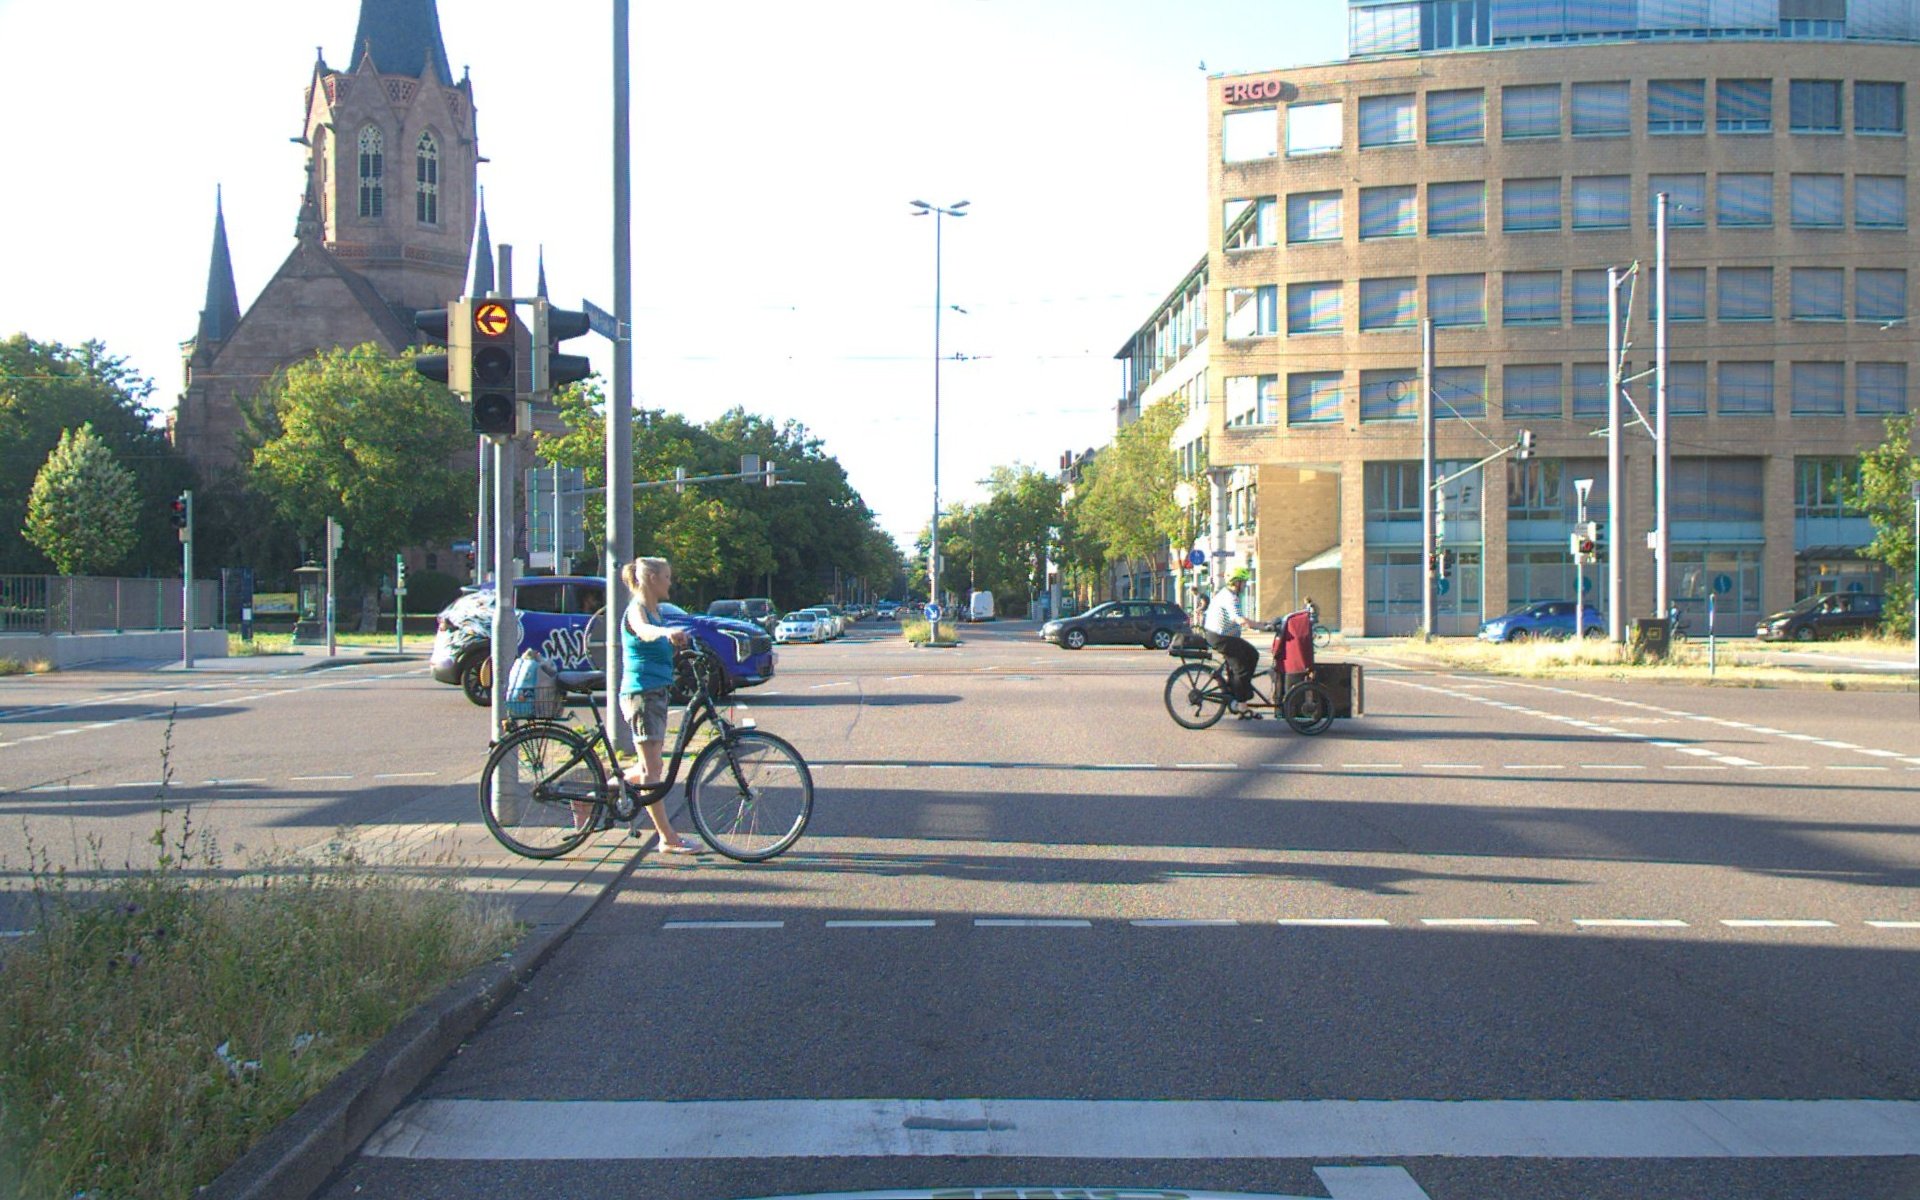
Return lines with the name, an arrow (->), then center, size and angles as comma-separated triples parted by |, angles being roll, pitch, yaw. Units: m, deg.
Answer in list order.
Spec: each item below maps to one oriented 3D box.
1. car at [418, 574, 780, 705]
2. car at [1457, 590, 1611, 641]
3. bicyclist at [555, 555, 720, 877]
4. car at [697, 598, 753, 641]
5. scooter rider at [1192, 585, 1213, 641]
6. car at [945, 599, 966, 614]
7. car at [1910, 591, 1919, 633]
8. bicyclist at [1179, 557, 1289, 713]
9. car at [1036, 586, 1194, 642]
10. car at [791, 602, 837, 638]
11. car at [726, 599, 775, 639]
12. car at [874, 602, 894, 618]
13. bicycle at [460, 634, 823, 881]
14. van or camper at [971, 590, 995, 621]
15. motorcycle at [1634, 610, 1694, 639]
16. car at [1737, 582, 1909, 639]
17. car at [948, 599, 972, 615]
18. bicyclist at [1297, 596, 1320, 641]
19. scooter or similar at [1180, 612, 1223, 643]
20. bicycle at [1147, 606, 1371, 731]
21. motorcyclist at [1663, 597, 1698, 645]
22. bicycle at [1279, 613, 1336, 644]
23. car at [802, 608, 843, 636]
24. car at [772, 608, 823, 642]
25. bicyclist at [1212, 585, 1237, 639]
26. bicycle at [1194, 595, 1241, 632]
car -> -4.621, 0.488, 21.646 | 4.313, 1.601, 1.836 | 0, 0, -1
car -> 18.103, 0.479, 52.244 | 4.146, 1.528, 1.998 | 0, 0, -5
bicyclist -> -1.767, 0.610, 9.191 | 0.767, 1.689, 0.900 | -1, 0, -3
car -> -9.465, 0.760, 66.786 | 1.744, 1.676, 3.999 | 0, 0, -1
scooter rider -> 8.102, 0.433, 55.202 | 0.666, 1.846, 0.475 | 0, 0, 5
car -> -0.485, 0.672, 177.162 | 1.955, 1.620, 3.996 | 0, 0, -5
car -> 32.729, 0.384, 53.049 | 3.535, 1.366, 1.721 | 0, 0, -2
bicyclist -> 2.746, 0.337, 16.688 | 0.862, 1.513, 1.161 | 0, 0, -3
car -> 4.717, 0.413, 50.731 | 4.555, 1.626, 1.998 | 0, 0, -5
car -> -6.394, 0.853, 72.916 | 1.744, 1.490, 3.999 | 0, 0, -1
car -> -9.370, 0.829, 74.190 | 1.744, 1.734, 3.999 | 0, 0, -1
car -> -7.006, 0.938, 153.686 | 1.744, 1.474, 3.999 | 0, 0, -1
bicycle -> -1.642, 0.802, 8.763 | 1.791, 1.209, 0.733 | 0, 0, -3
van or camper -> 2.026, 0.448, 146.334 | 1.953, 2.686, 5.350 | 0, 0, 0
motorcycle -> 23.564, 0.818, 55.359 | 1.780, 0.970, 0.524 | 0, 0, -2
car -> 25.951, 0.297, 49.851 | 4.142, 1.642, 2.000 | 0, 0, 0
car -> -0.021, 0.734, 171.506 | 1.956, 1.620, 3.994 | 0, 0, -7
bicyclist -> 11.581, 0.610, 54.933 | 0.652, 1.494, 0.534 | 0, 0, 2
scooter or similar -> 8.053, 0.918, 55.204 | 1.371, 1.019, 0.475 | 0, 0, 5
bicycle -> 2.984, 0.669, 16.703 | 2.002, 1.188, 1.161 | -1, 0, -4
motorcyclist -> 24.033, 0.694, 55.171 | 0.830, 1.613, 0.802 | 0, 0, -1
bicycle -> 11.526, 0.939, 54.937 | 1.783, 1.001, 0.534 | 0, 0, 2
car -> -6.644, 1.062, 80.173 | 1.744, 1.258, 3.999 | 0, 0, -1
car -> -6.480, 0.996, 66.338 | 1.744, 1.258, 3.999 | 0, 0, -1
bicyclist -> 8.667, 0.391, 54.260 | 0.774, 1.766, 0.475 | 0, 0, 5
bicycle -> 8.450, 0.449, 54.359 | 1.487, 1.193, 0.475 | 0, 0, 5
